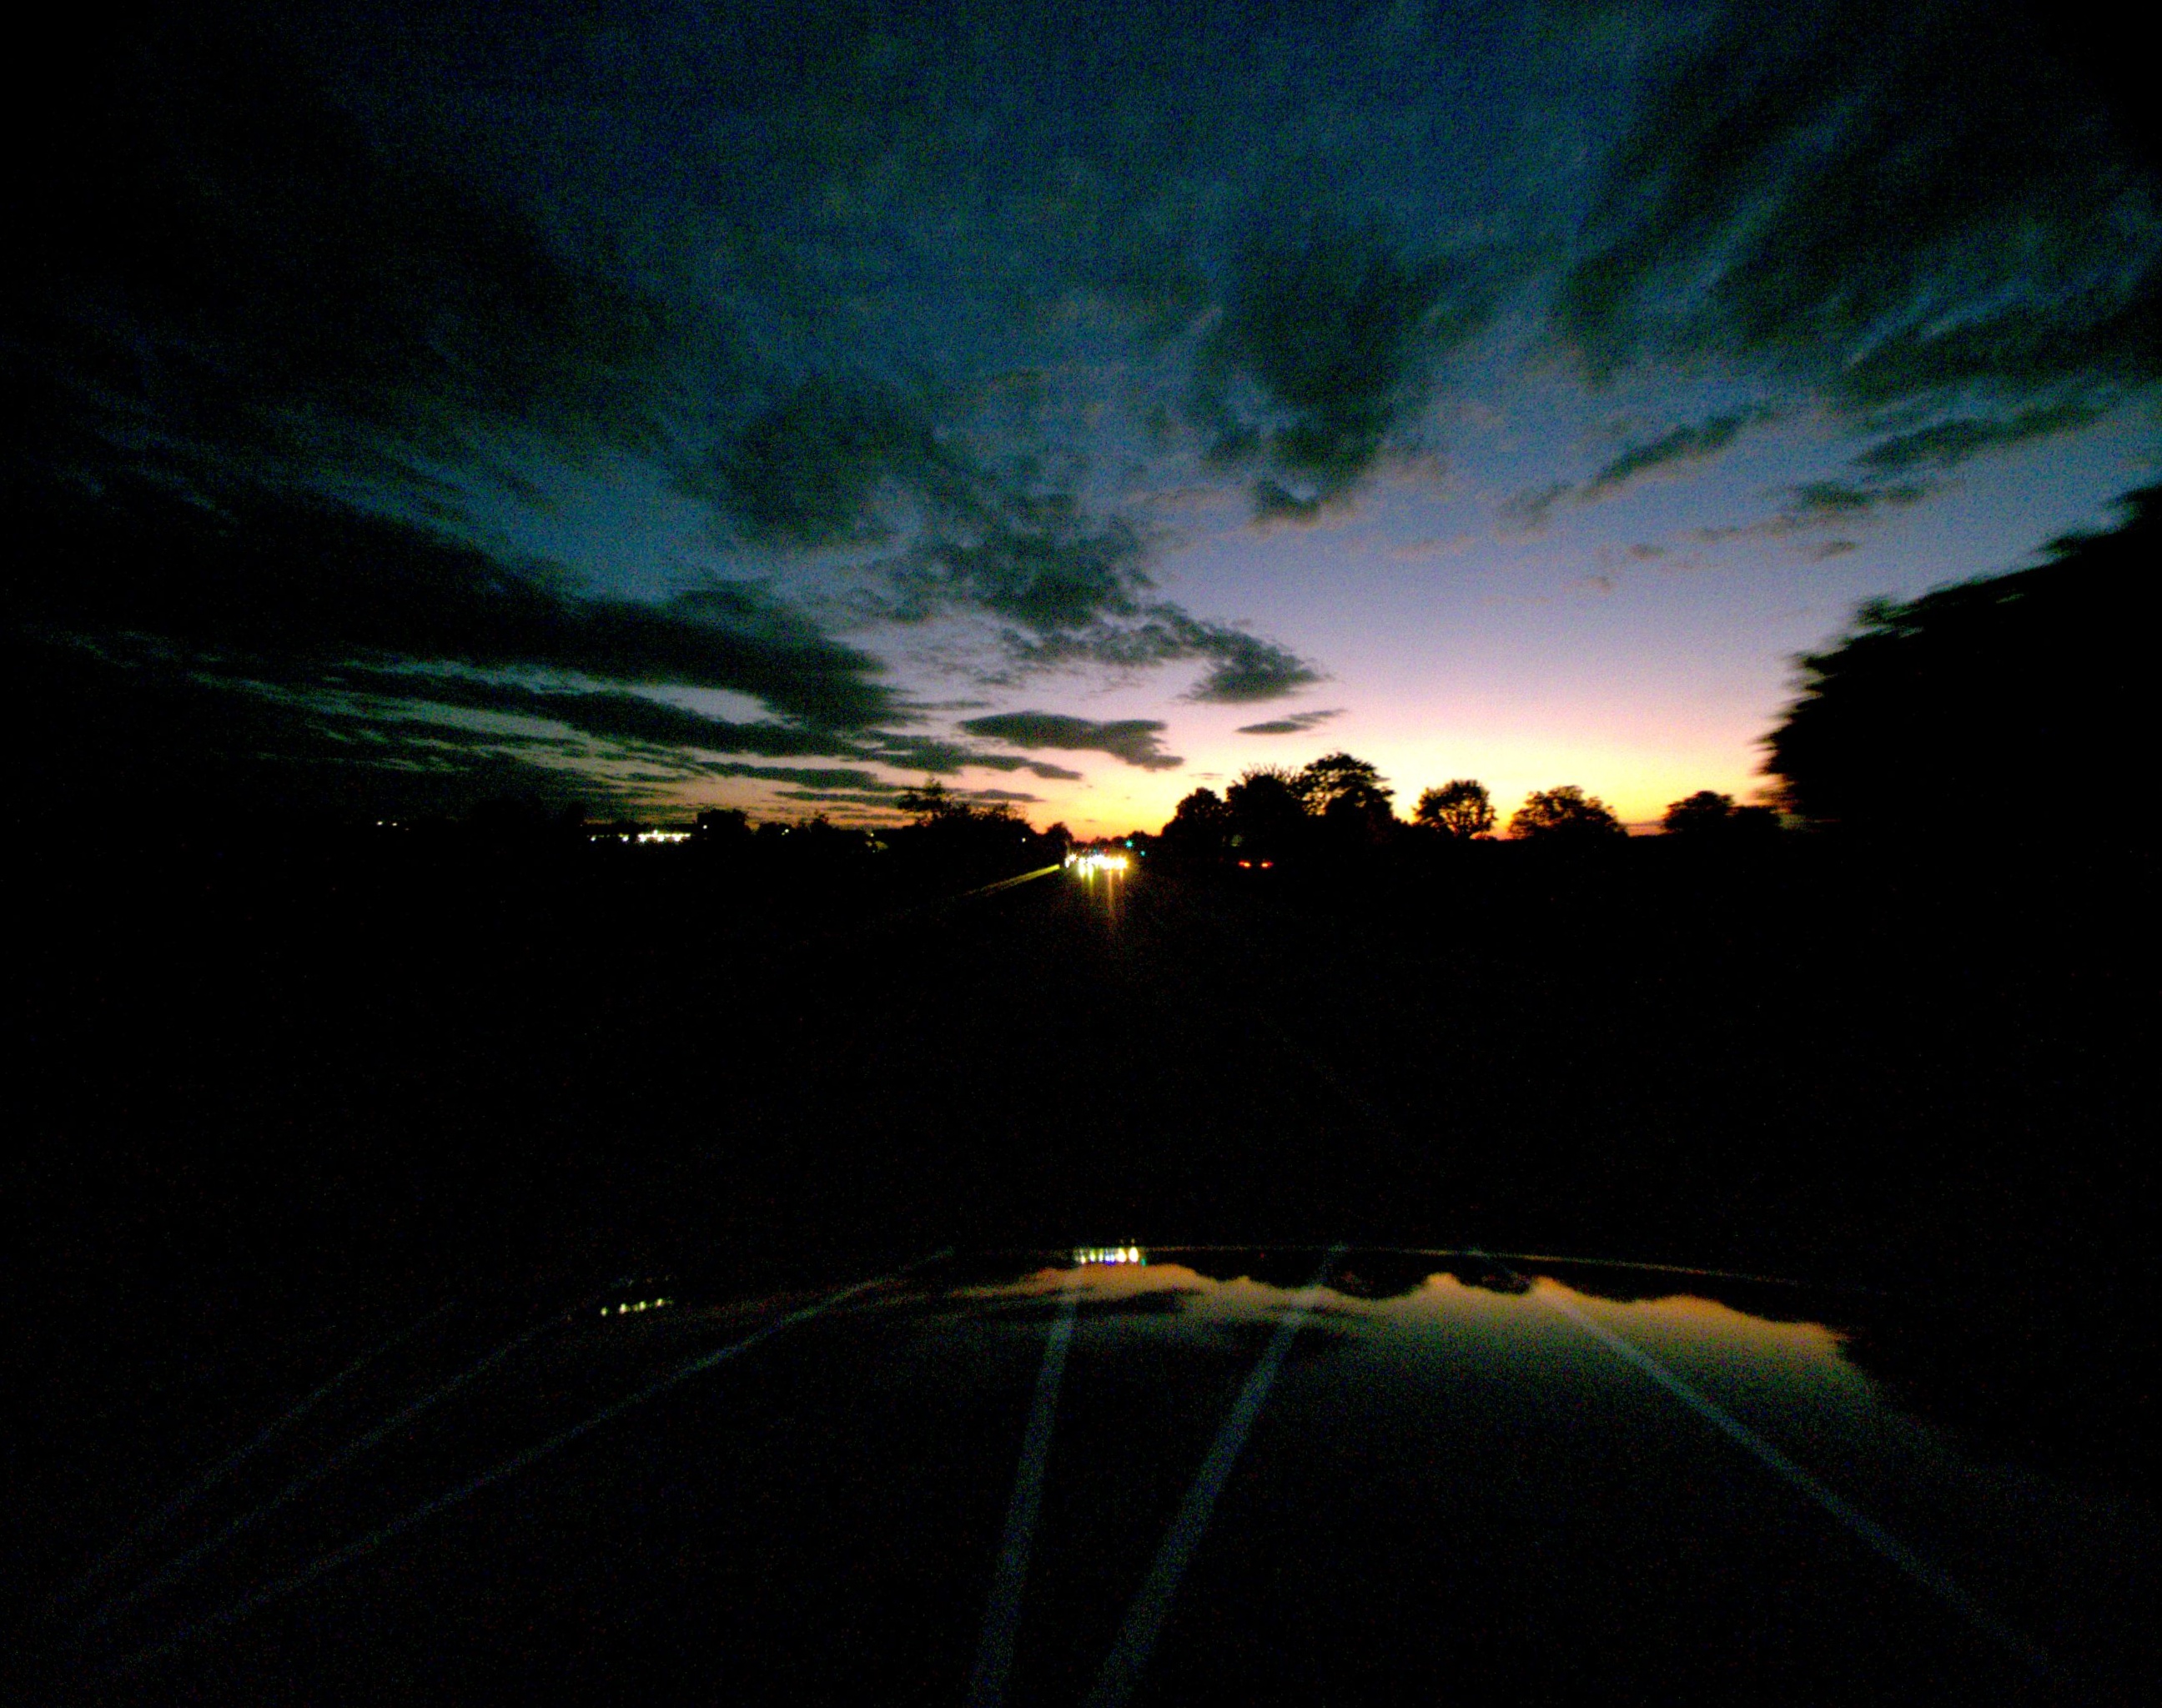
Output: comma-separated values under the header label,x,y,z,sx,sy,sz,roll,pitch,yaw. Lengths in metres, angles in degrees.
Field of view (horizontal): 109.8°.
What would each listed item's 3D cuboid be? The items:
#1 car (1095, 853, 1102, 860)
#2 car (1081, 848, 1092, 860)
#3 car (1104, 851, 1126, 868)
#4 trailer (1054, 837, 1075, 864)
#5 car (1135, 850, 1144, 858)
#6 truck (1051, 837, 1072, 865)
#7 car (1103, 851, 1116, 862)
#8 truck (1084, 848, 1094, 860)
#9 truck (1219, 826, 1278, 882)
label,x,y,z,sx,sy,sz,roll,pitch,yaw
car,5.370,0.694,234.089,1.998,2.002,4.000,-2,1,2
car,0.972,0.018,126.193,1.741,2.002,4.000,-2,0,0
car,3.477,0.546,78.607,1.998,1.635,4.296,-2,1,0
trailer,-2.427,-0.501,115.094,2.474,3.789,12.671,-2,1,2
car,15.224,0.016,197.904,1.970,2.087,5.346,-2,1,0
truck,-2.722,-0.423,107.460,2.490,3.778,5.498,-2,1,2
car,4.760,0.445,127.958,1.998,1.778,4.000,-2,1,1
truck,2.474,-0.084,244.493,3.016,3.674,9.057,-2,1,0
truck,16.927,-0.079,77.889,3.210,5.225,12.607,-2,1,0
